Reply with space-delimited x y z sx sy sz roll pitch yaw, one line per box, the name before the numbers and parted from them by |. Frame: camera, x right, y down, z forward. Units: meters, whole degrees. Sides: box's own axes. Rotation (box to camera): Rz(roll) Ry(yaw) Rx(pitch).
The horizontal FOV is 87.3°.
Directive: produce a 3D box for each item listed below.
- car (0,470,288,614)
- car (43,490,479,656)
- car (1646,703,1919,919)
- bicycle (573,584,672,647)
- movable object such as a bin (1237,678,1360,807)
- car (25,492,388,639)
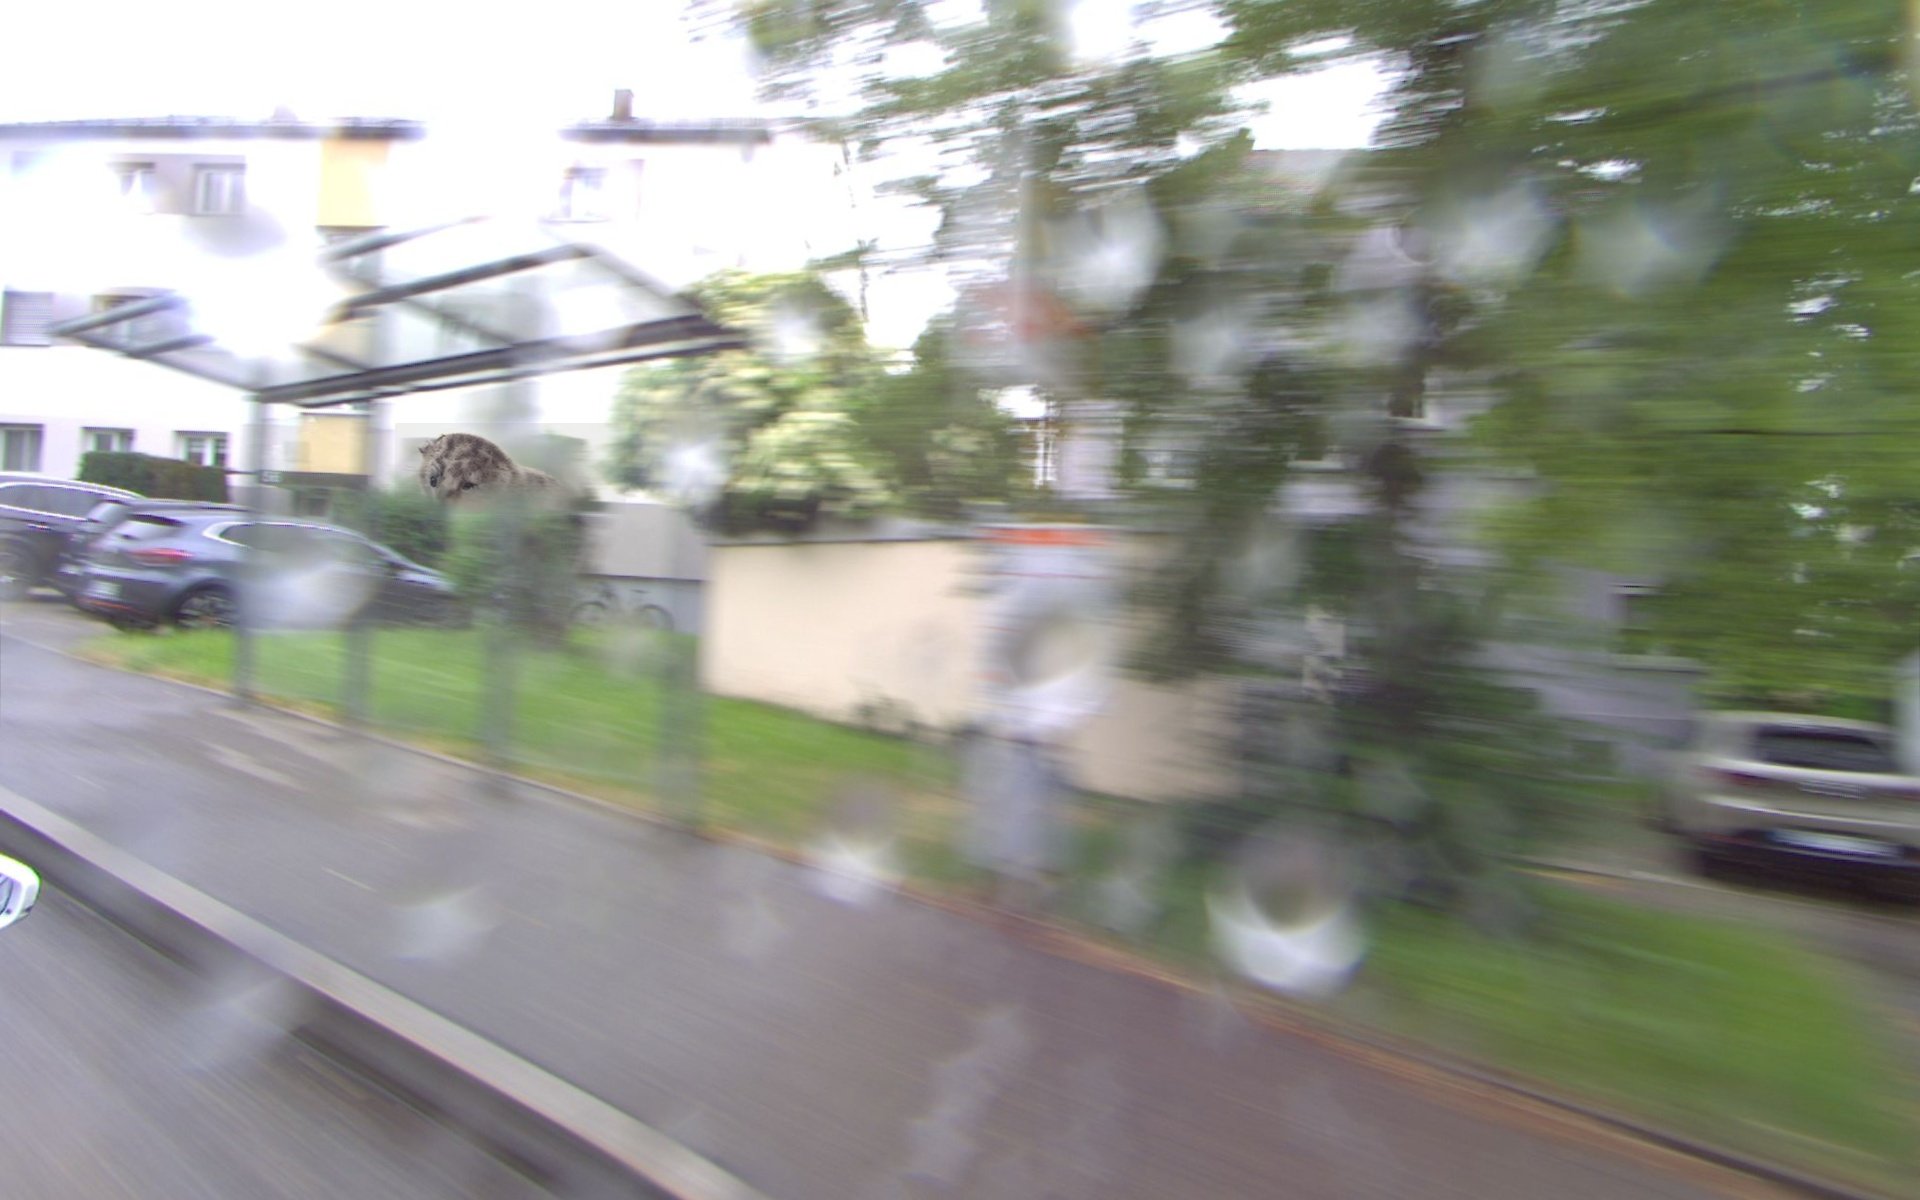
car | -12.380 -0.825 14.108 1.822 1.681 4.537 7 0 24
car | -7.910 -0.211 11.759 1.695 1.477 3.749 7 0 29
car | 7.674 1.782 9.411 1.767 1.448 3.706 3 -3 31
bicycle | -6.572 0.312 19.625 1.650 1.001 0.573 7 -1 5
movable object such as a bin | 4.332 1.800 12.836 1.101 1.409 1.140 6 -3 34
car | -9.892 -0.383 13.465 1.639 1.515 3.444 7 0 29
